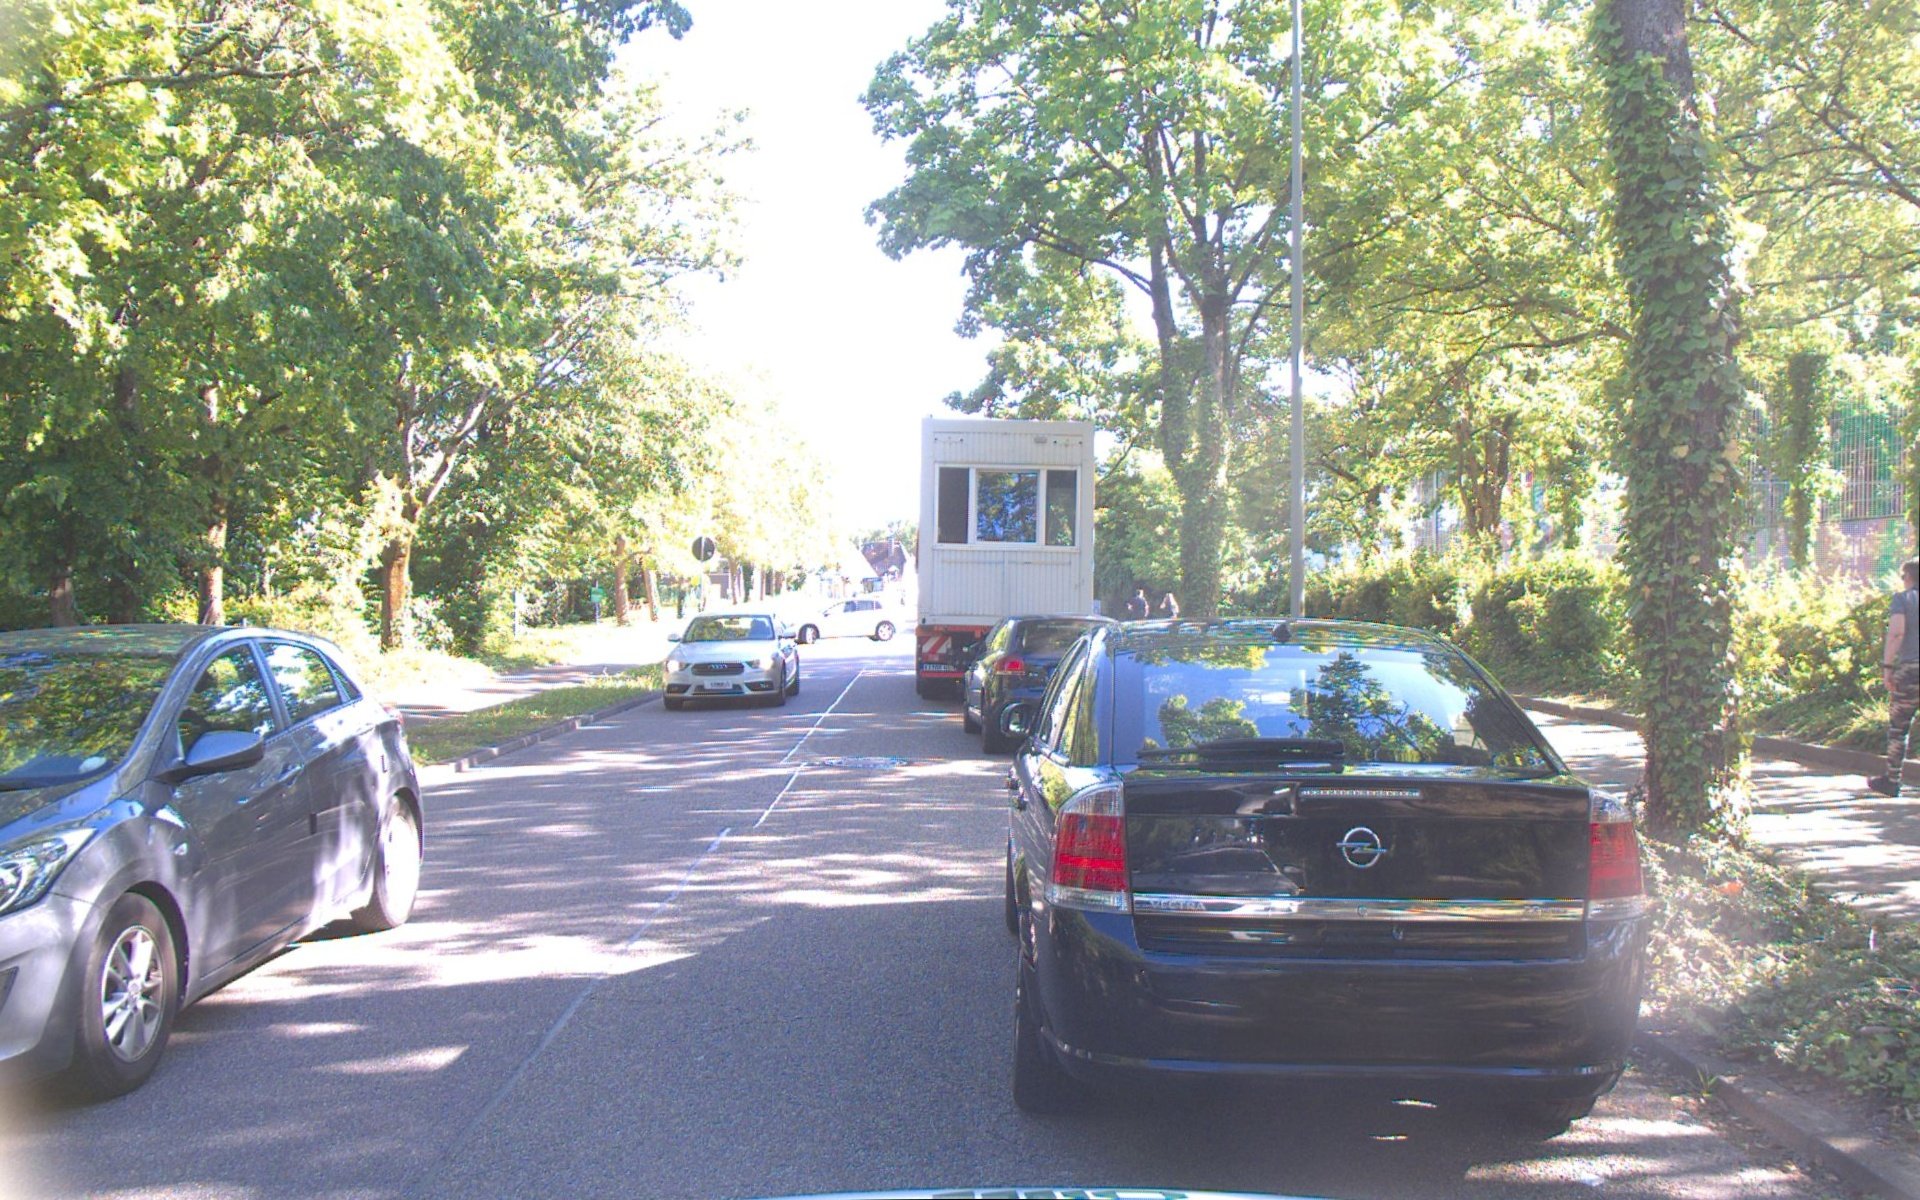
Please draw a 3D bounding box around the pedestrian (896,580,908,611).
[{"bbox_3d":[-4.077,-0.283,116.317,0.737,2.150,0.799,1,0,1],"label":"pedestrian"}]

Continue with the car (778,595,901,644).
[{"bbox_3d":[-4.058,0.645,55.552,3.878,1.445,1.805,-2,0,-13],"label":"car"}]

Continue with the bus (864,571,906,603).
[{"bbox_3d":[-8.222,-1.448,182.867,3.981,3.407,9.802,-1,0,1],"label":"bus"}]

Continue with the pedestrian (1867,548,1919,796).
[{"bbox_3d":[6.579,0.475,11.208,0.559,1.636,0.672,0,0,8],"label":"pedestrian"}]

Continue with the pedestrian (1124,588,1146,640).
[{"bbox_3d":[5.663,0.450,53.593,0.586,1.639,0.599,-2,0,-4],"label":"pedestrian"}]

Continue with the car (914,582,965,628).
[{"bbox_3d":[-0.891,0.199,70.087,1.908,1.875,3.996,0,0,-4],"label":"car"}]

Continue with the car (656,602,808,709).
[{"bbox_3d":[-3.453,0.796,25.700,1.750,1.441,4.104,-2,1,0],"label":"car"}]

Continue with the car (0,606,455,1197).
[{"bbox_3d":[-3.415,0.817,6.301,1.720,1.479,4.242,-2,1,-1],"label":"car"}]

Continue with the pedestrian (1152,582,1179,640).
[{"bbox_3d":[6.658,0.343,53.639,0.684,1.844,0.699,-2,0,-4],"label":"pedestrian"}]

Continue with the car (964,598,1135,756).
[{"bbox_3d":[0.890,0.738,17.910,1.606,1.445,4.000,-2,0,1],"label":"car"}]

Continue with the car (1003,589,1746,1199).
[{"bbox_3d":[1.051,0.744,5.993,1.712,1.506,4.030,0,0,0],"label":"car"}]

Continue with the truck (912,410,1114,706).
[{"bbox_3d":[0.588,-0.613,28.171,2.717,4.065,10.344,1,0,-2],"label":"truck"}]

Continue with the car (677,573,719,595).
[{"bbox_3d":[-27.122,-1.642,171.228,3.905,2.049,2.000,-2,0,0],"label":"car"}]
